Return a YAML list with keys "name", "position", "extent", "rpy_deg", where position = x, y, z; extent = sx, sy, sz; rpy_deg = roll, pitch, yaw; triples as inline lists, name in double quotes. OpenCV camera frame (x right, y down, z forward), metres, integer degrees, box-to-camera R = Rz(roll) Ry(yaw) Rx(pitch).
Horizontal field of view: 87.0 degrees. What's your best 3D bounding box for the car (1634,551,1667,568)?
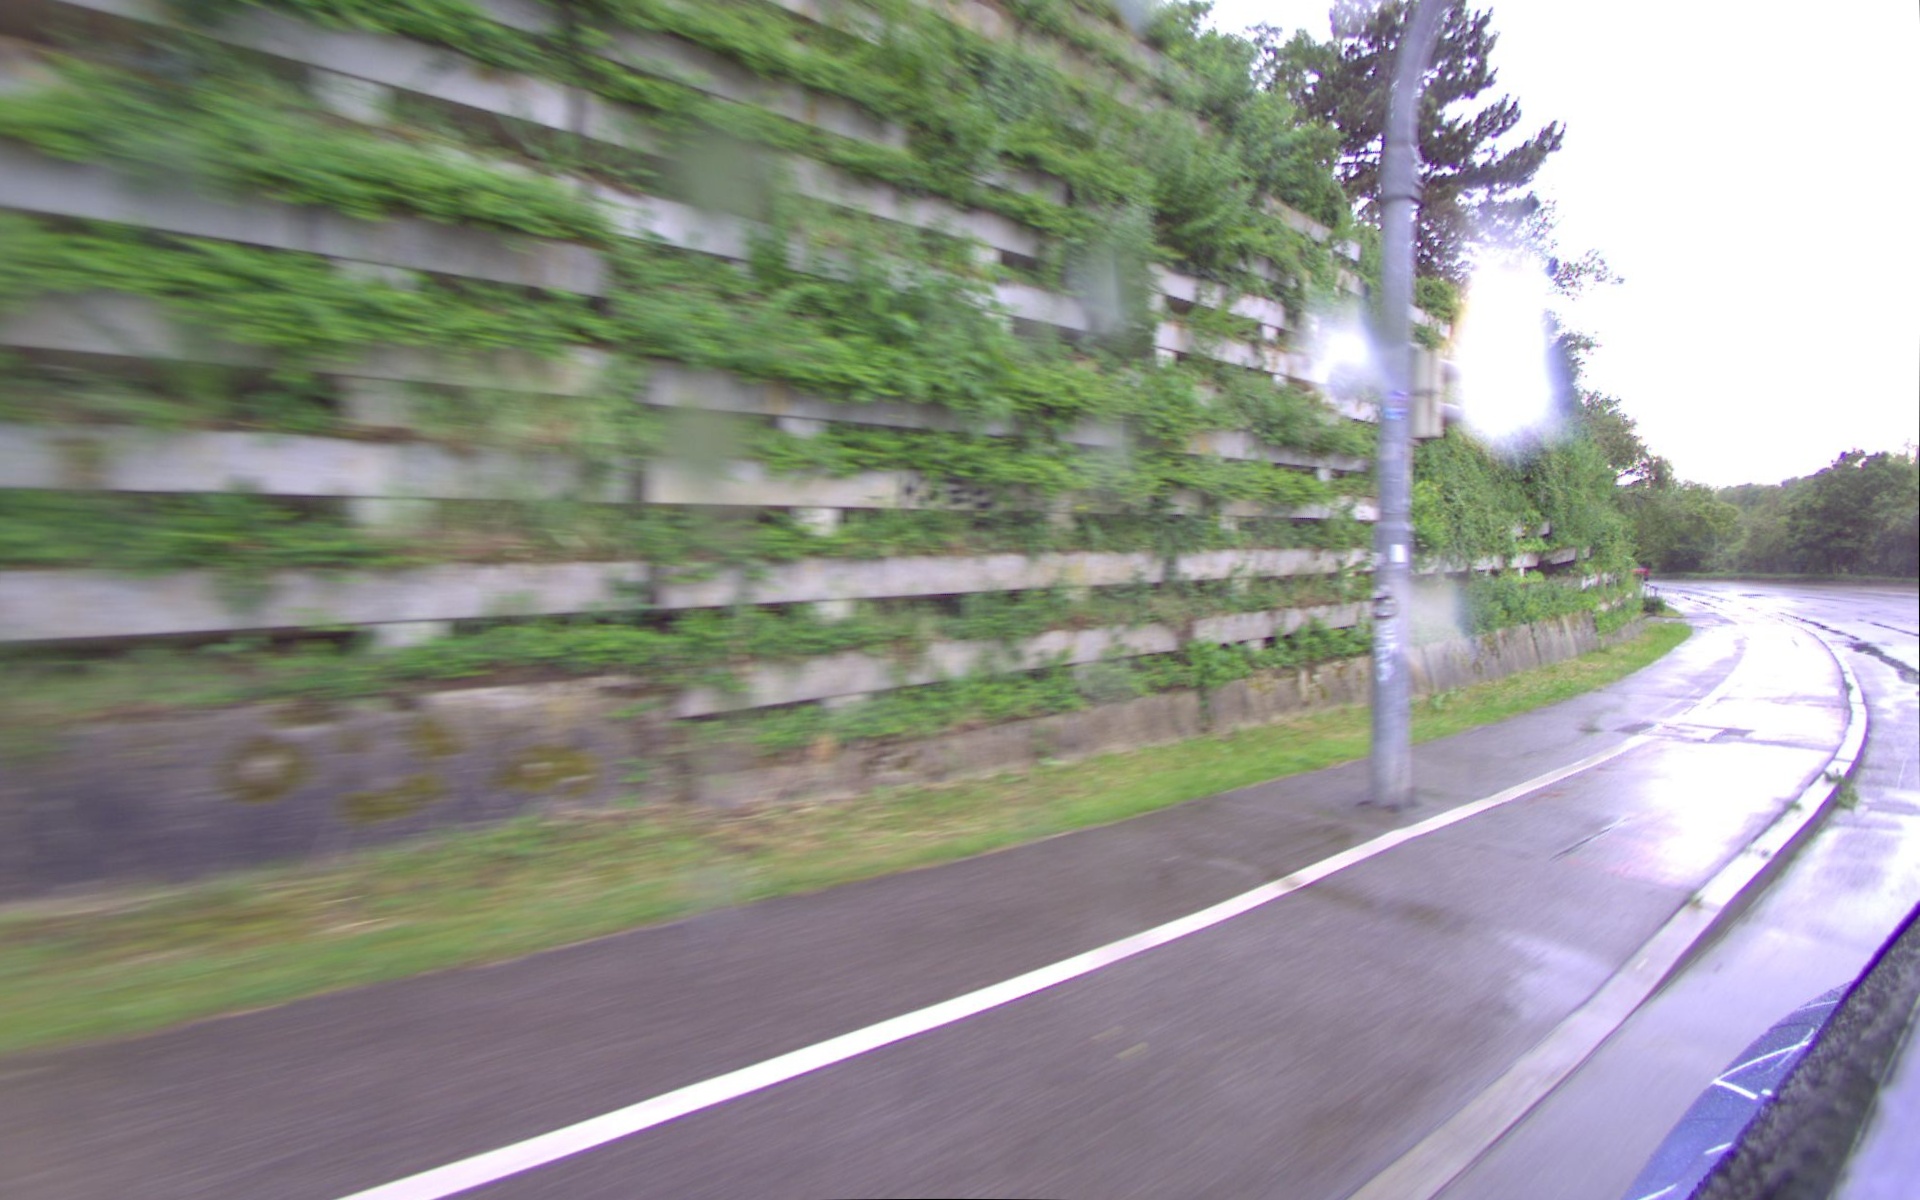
- name: "car"
  position: [65.772, -3.836, 96.466]
  extent: [1.739, 1.555, 3.971]
  rpy_deg: [1, 1, 22]
